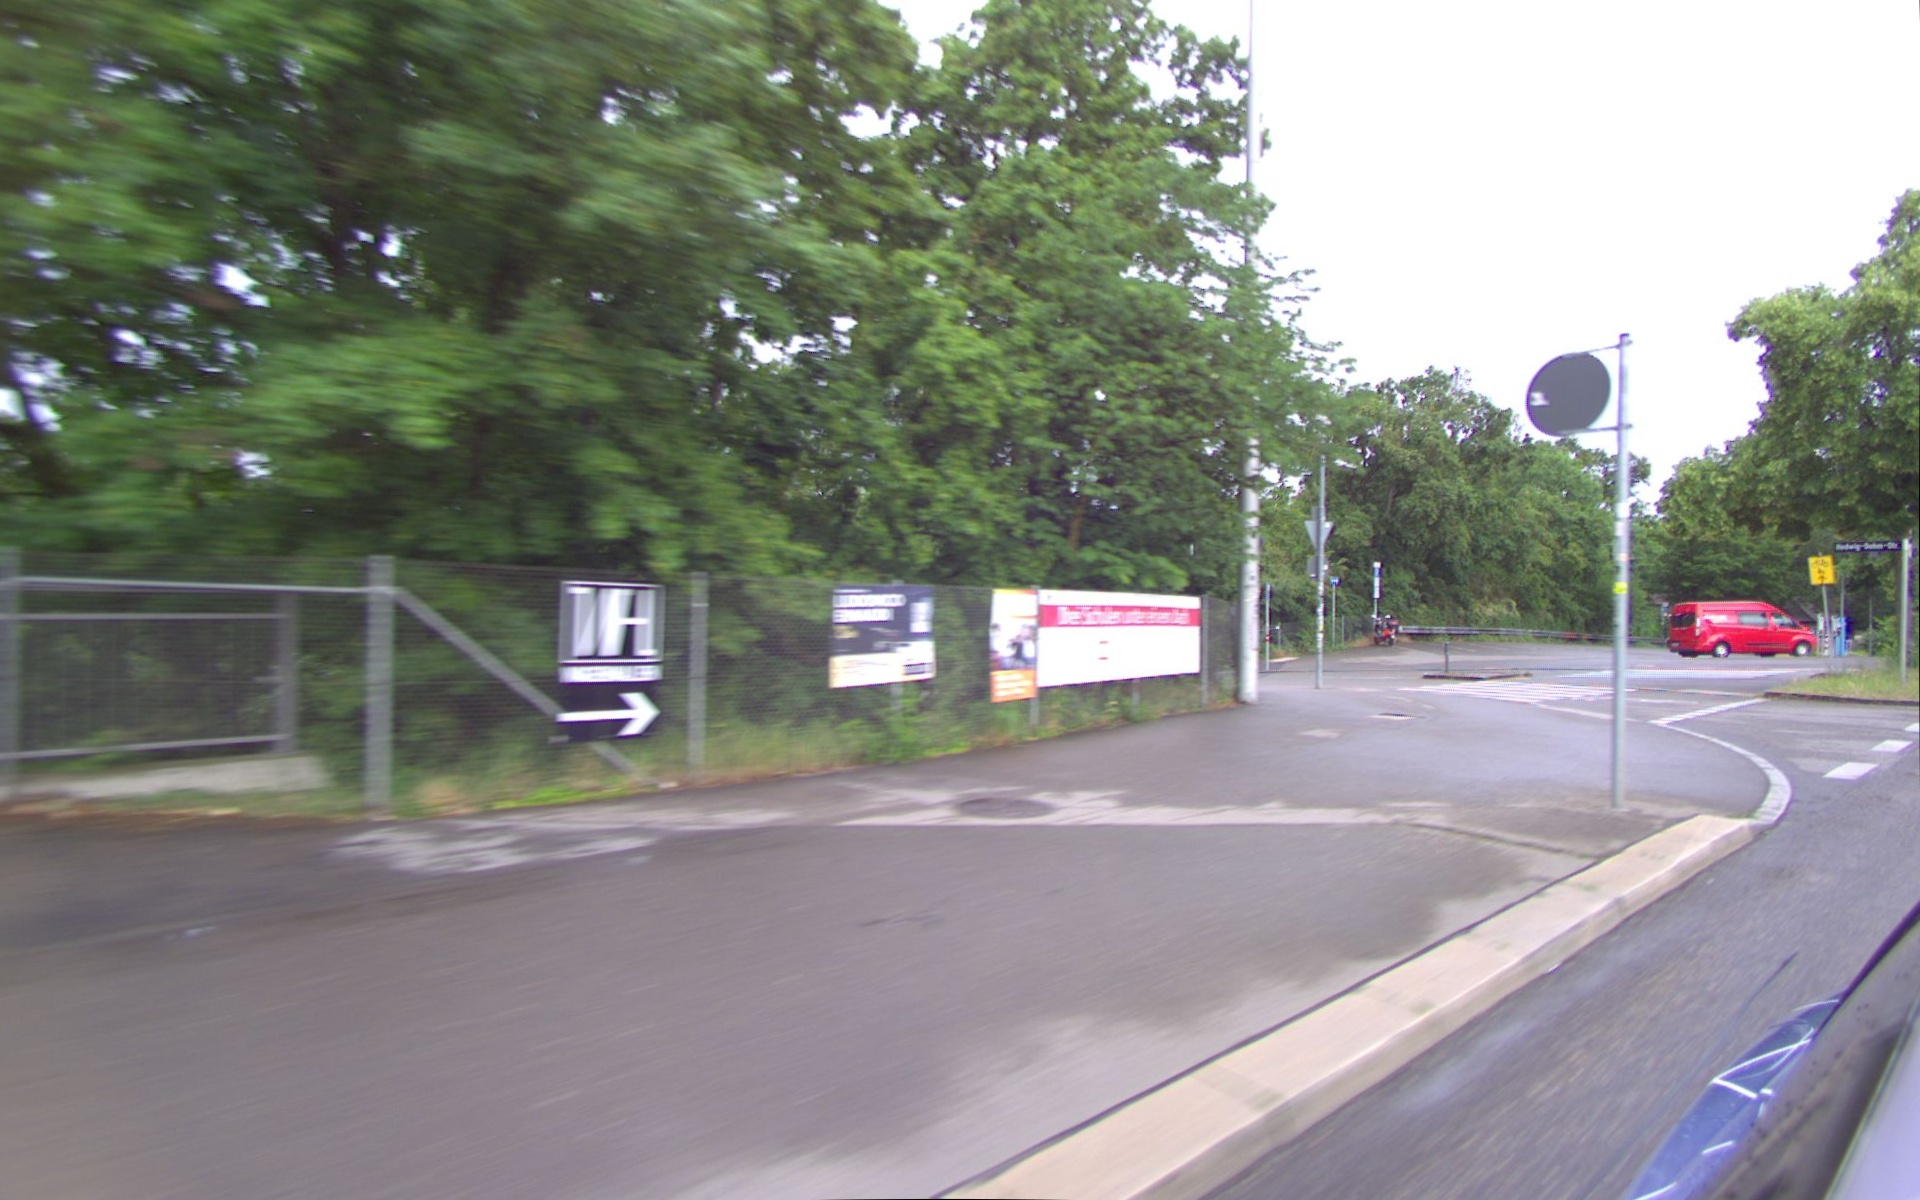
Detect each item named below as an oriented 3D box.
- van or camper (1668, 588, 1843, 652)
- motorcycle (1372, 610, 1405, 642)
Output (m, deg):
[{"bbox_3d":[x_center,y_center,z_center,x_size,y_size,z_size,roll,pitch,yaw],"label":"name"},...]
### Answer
[{"bbox_3d":[32.516,0.853,41.496,5.291,2.438,2.039,-1,-4,2],"label":"van or camper"},{"bbox_3d":[18.535,1.099,43.808,0.464,1.228,2.026,-3,2,-3],"label":"motorcycle"}]
